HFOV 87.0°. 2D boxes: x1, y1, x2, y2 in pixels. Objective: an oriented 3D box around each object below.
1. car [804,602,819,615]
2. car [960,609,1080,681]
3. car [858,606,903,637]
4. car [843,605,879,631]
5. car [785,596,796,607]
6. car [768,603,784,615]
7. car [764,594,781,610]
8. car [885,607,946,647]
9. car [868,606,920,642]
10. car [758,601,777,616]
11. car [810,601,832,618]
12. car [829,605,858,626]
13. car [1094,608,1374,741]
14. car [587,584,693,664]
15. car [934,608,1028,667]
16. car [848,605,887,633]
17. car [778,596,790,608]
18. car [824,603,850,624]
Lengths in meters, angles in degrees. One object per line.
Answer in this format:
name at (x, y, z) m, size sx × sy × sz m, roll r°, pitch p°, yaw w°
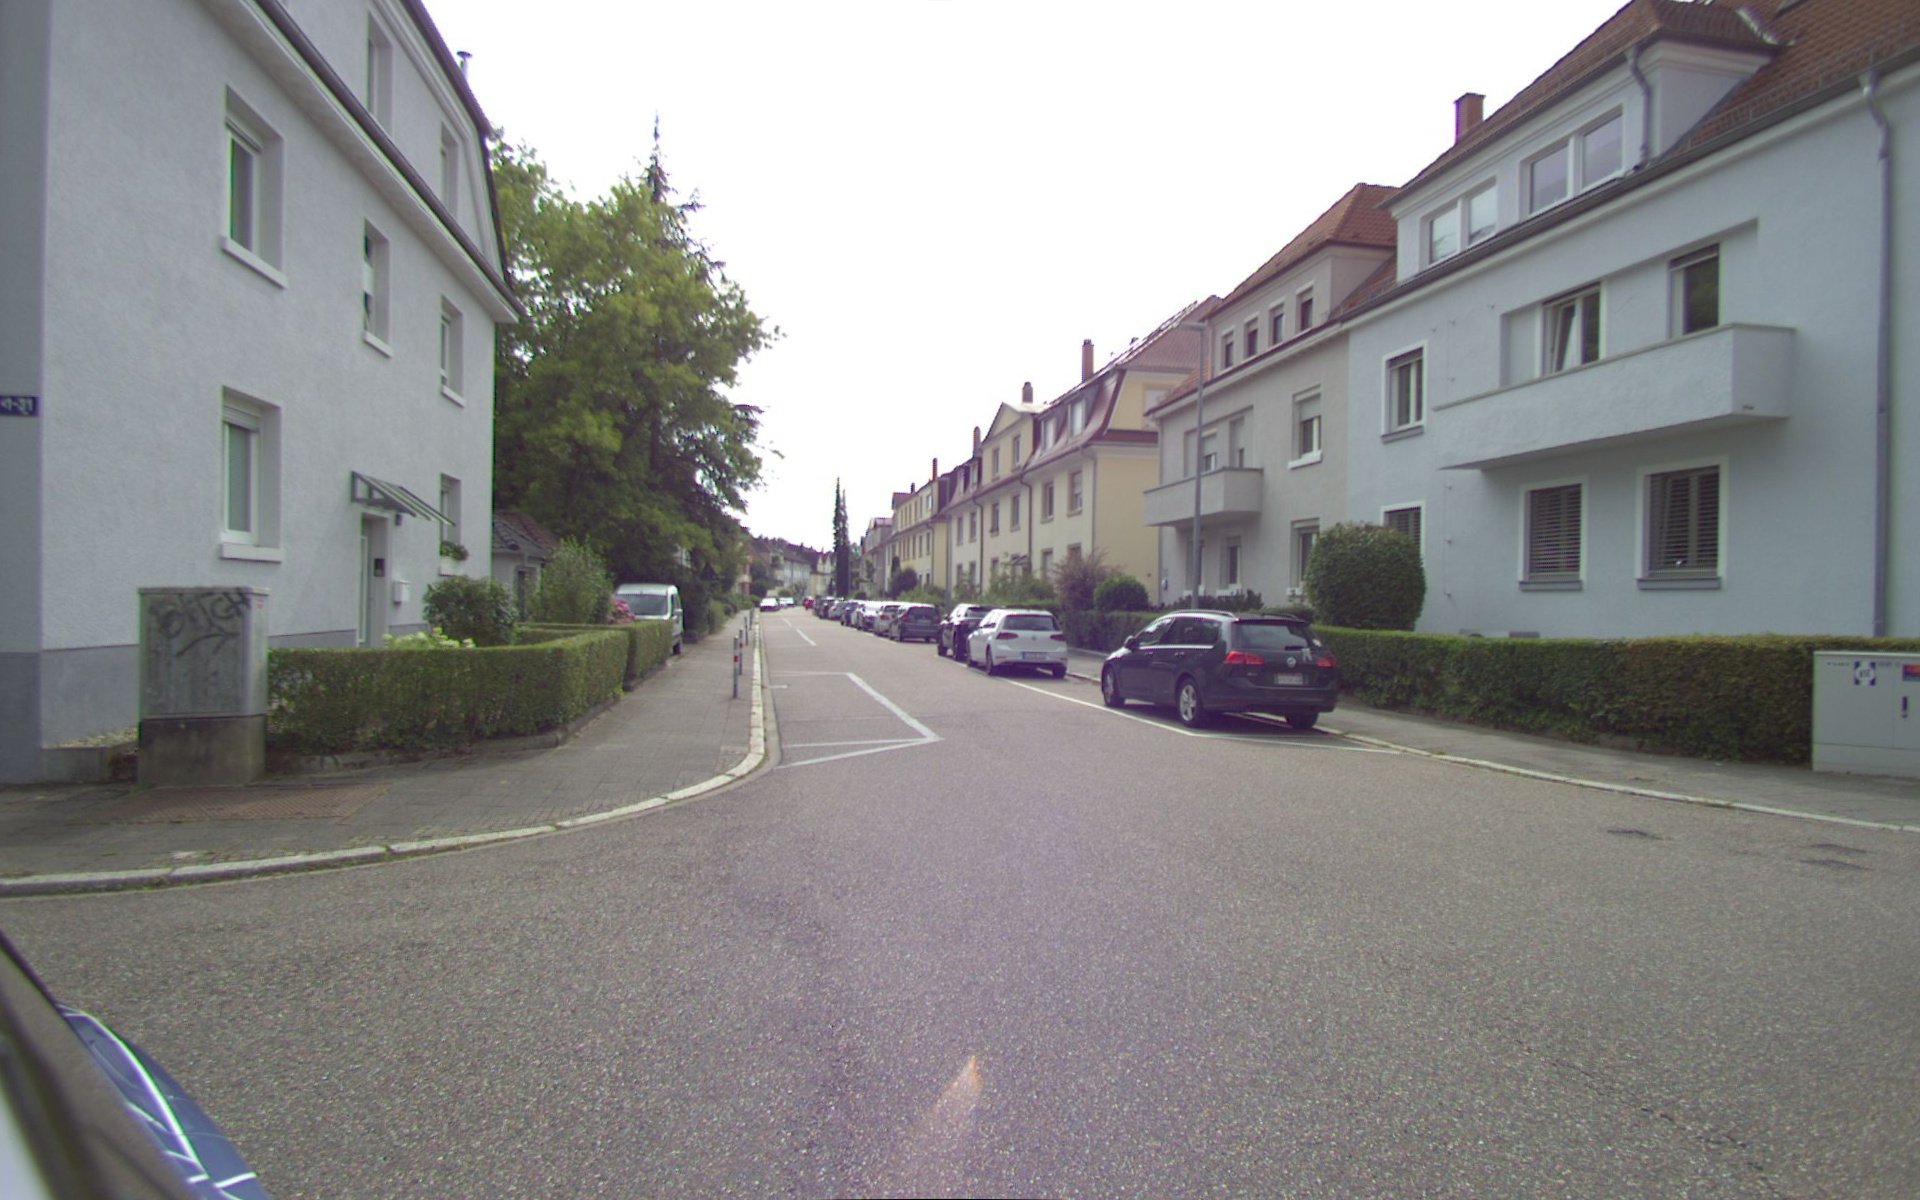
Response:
car at (-19.967, 1.128, 135.936) m, size 1.830 × 1.590 × 4.184 m, roll 1°, pitch 0°, yaw -10°
car at (1.264, 0.978, 23.355) m, size 1.830 × 1.482 × 4.184 m, roll 1°, pitch 0°, yaw -10°
car at (-4.008, 1.042, 50.606) m, size 1.830 × 1.482 × 4.184 m, roll 1°, pitch 0°, yaw -10°
car at (-6.057, 1.066, 61.394) m, size 1.830 × 1.482 × 4.184 m, roll 1°, pitch 0°, yaw -10°
car at (-33.739, 0.283, 201.821) m, size 1.968 × 2.139 × 4.007 m, roll 1°, pitch 0°, yaw -8°
car at (-26.508, 1.241, 145.790) m, size 1.968 × 1.652 × 4.007 m, roll 1°, pitch 0°, yaw -8°
car at (-23.941, 0.250, 129.388) m, size 1.968 × 2.029 × 4.008 m, roll 1°, pitch 0°, yaw -9°
car at (-1.805, 1.015, 39.753) m, size 1.830 × 1.482 × 4.184 m, roll 1°, pitch 0°, yaw -10°
car at (-2.983, 1.029, 44.994) m, size 1.830 × 1.482 × 4.184 m, roll 1°, pitch 0°, yaw -10°
car at (-22.205, 0.936, 116.942) m, size 1.968 × 1.652 × 4.007 m, roll 1°, pitch 0°, yaw -8°
car at (-13.430, 0.890, 97.776) m, size 1.829 × 1.590 × 4.185 m, roll 1°, pitch 0°, yaw -11°
car at (-8.532, 1.096, 73.856) m, size 1.830 × 1.482 × 4.184 m, roll 1°, pitch 0°, yaw -10°
car at (3.477, 0.874, 13.751) m, size 1.828 × 1.482 × 4.187 m, roll 1°, pitch 0°, yaw -14°
car at (-7.919, 0.571, 25.394) m, size 1.968 × 1.852 × 4.008 m, roll 1°, pitch 0°, yaw -9°
car at (0.495, 0.987, 28.107) m, size 1.830 × 1.482 × 4.184 m, roll 1°, pitch 0°, yaw -10°
car at (-5.236, 1.056, 57.097) m, size 1.830 × 1.482 × 4.184 m, roll 1°, pitch 0°, yaw -10°
car at (-32.897, 0.435, 189.213) m, size 1.968 × 2.139 × 4.007 m, roll 1°, pitch 0°, yaw -8°
car at (-9.598, 1.055, 78.734) m, size 1.830 × 1.590 × 4.184 m, roll 1°, pitch 0°, yaw -10°
